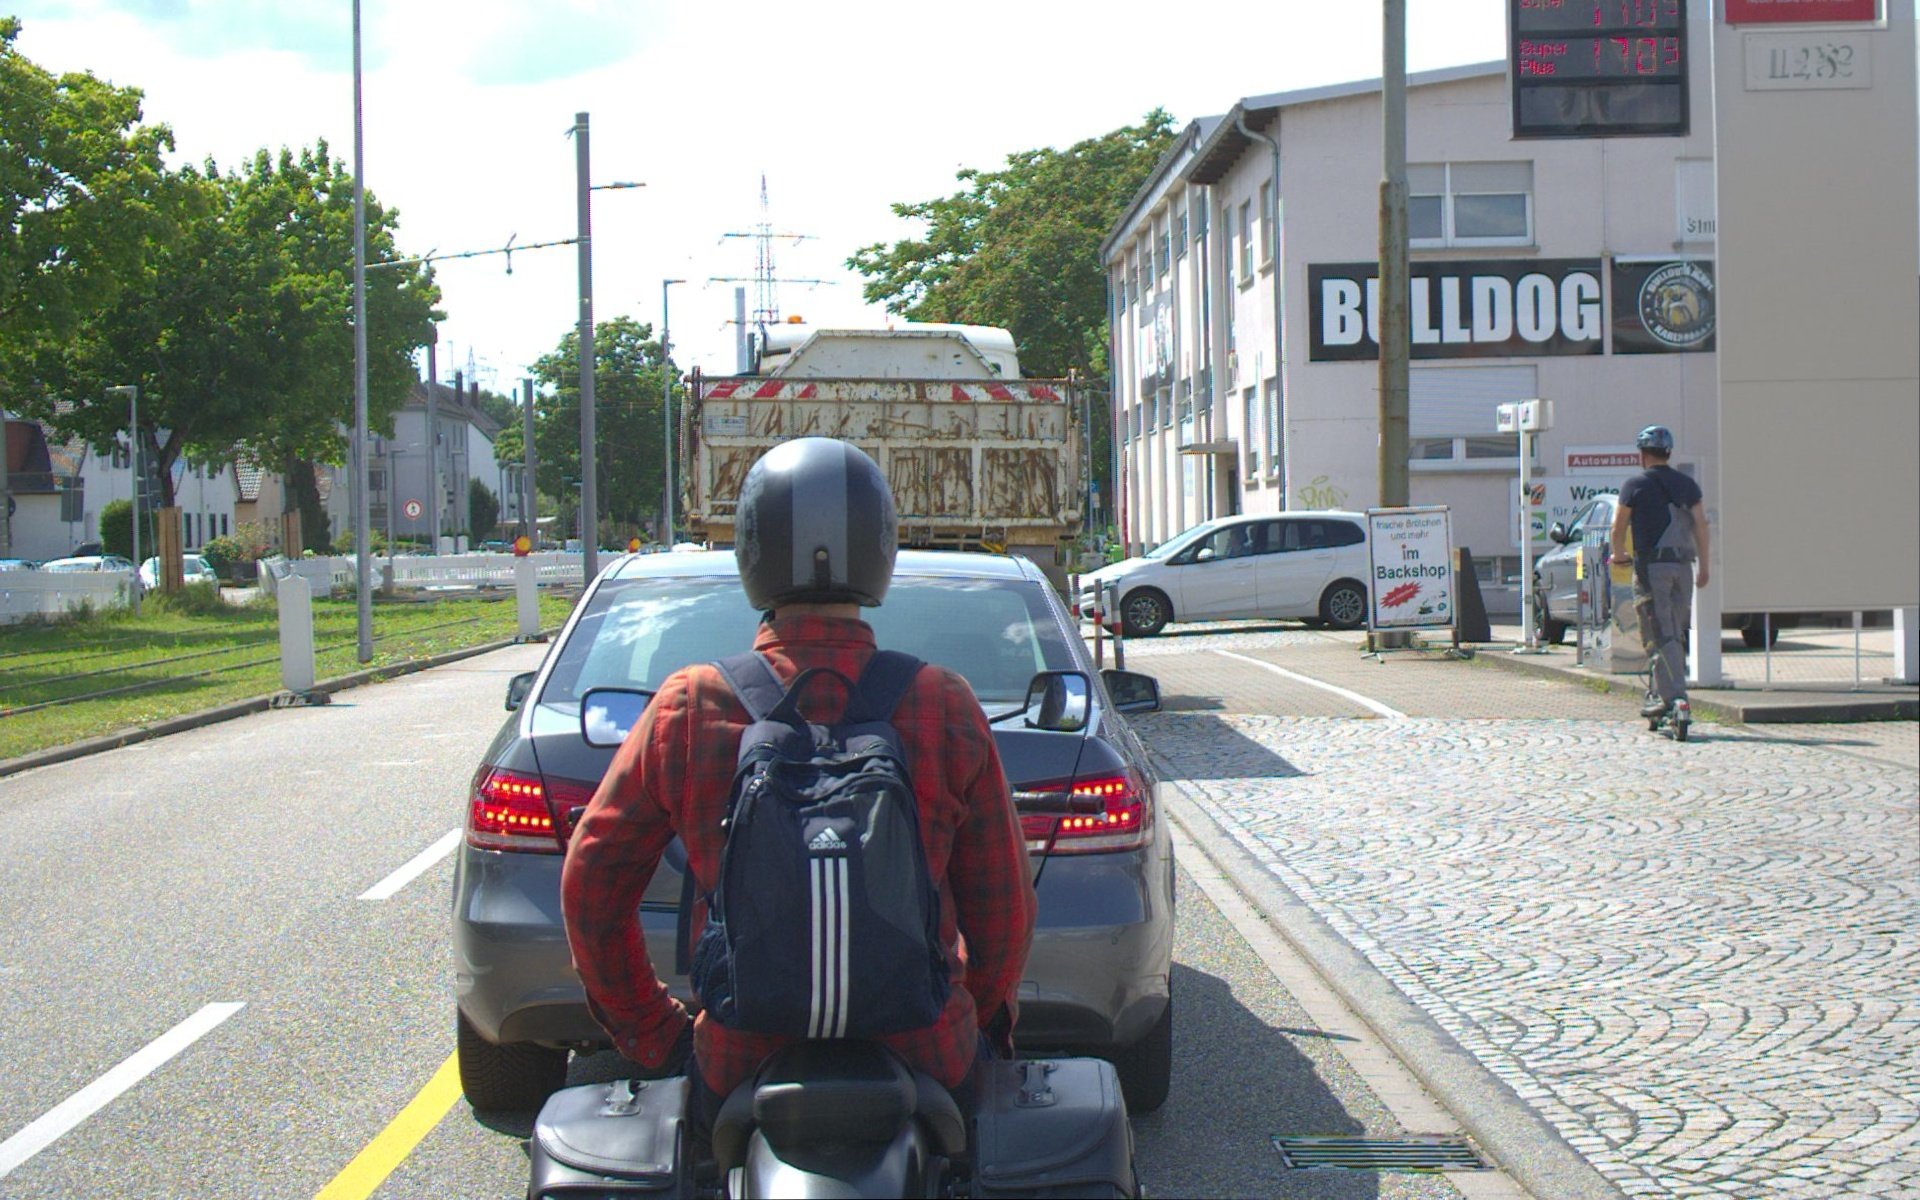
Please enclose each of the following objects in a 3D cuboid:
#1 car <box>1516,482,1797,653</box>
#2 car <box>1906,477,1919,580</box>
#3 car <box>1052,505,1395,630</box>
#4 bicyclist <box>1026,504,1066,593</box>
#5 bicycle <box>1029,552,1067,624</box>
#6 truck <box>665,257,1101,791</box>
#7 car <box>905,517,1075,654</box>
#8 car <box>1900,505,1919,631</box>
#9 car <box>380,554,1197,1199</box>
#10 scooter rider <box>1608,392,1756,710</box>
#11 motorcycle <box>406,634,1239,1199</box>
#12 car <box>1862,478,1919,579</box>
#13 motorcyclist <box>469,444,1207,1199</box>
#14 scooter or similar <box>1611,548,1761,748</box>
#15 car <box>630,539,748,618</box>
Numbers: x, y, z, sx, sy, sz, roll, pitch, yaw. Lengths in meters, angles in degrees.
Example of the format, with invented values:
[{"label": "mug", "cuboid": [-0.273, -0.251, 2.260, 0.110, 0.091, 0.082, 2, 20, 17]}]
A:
[{"label": "car", "cuboid": [7.313, -0.347, 36.496, 1.959, 1.643, 4.000, -2, 1, -3]}, {"label": "car", "cuboid": [17.265, -1.198, 54.380, 3.987, 1.643, 1.966, -2, 1, -1]}, {"label": "car", "cuboid": [3.583, -0.450, 47.185, 4.329, 1.546, 1.950, -2, 1, -8]}, {"label": "bicyclist", "cuboid": [1.699, -1.019, 68.041, 0.671, 1.738, 0.814, -1, 1, -6]}, {"label": "bicycle", "cuboid": [1.737, -0.248, 68.090, 0.693, 1.357, 2.418, -1, 1, 1]}, {"label": "truck", "cuboid": [-0.485, -0.655, 26.031, 2.610, 3.244, 9.183, -2, 2, 0]}, {"label": "car", "cuboid": [0.315, -0.199, 38.906, 1.821, 1.459, 4.000, 0, 1, 0]}, {"label": "car", "cuboid": [11.816, -0.375, 37.263, 1.959, 1.415, 4.000, -2, 1, -3]}, {"label": "car", "cuboid": [-0.407, 0.605, 9.714, 1.821, 1.419, 4.000, 0, 1, -1]}, {"label": "scooter rider", "cuboid": [4.548, -0.308, 21.692, 0.717, 1.956, 0.785, -1, 1, -1]}, {"label": "motorcycle", "cuboid": [-0.178, 0.751, 5.242, 0.939, 1.316, 2.645, 1, 1, -1]}, {"label": "car", "cuboid": [17.227, -1.233, 56.925, 3.987, 1.643, 1.966, -2, 1, -1]}, {"label": "motorcyclist", "cuboid": [-0.171, 0.601, 5.058, 0.939, 1.609, 1.205, 1, 1, -1]}, {"label": "scooter or similar", "cuboid": [4.535, 0.280, 21.560, 0.540, 1.191, 1.611, -2, 1, -1]}, {"label": "car", "cuboid": [-5.075, -0.424, 64.940, 1.846, 1.382, 4.344, -2, 1, 0]}]
